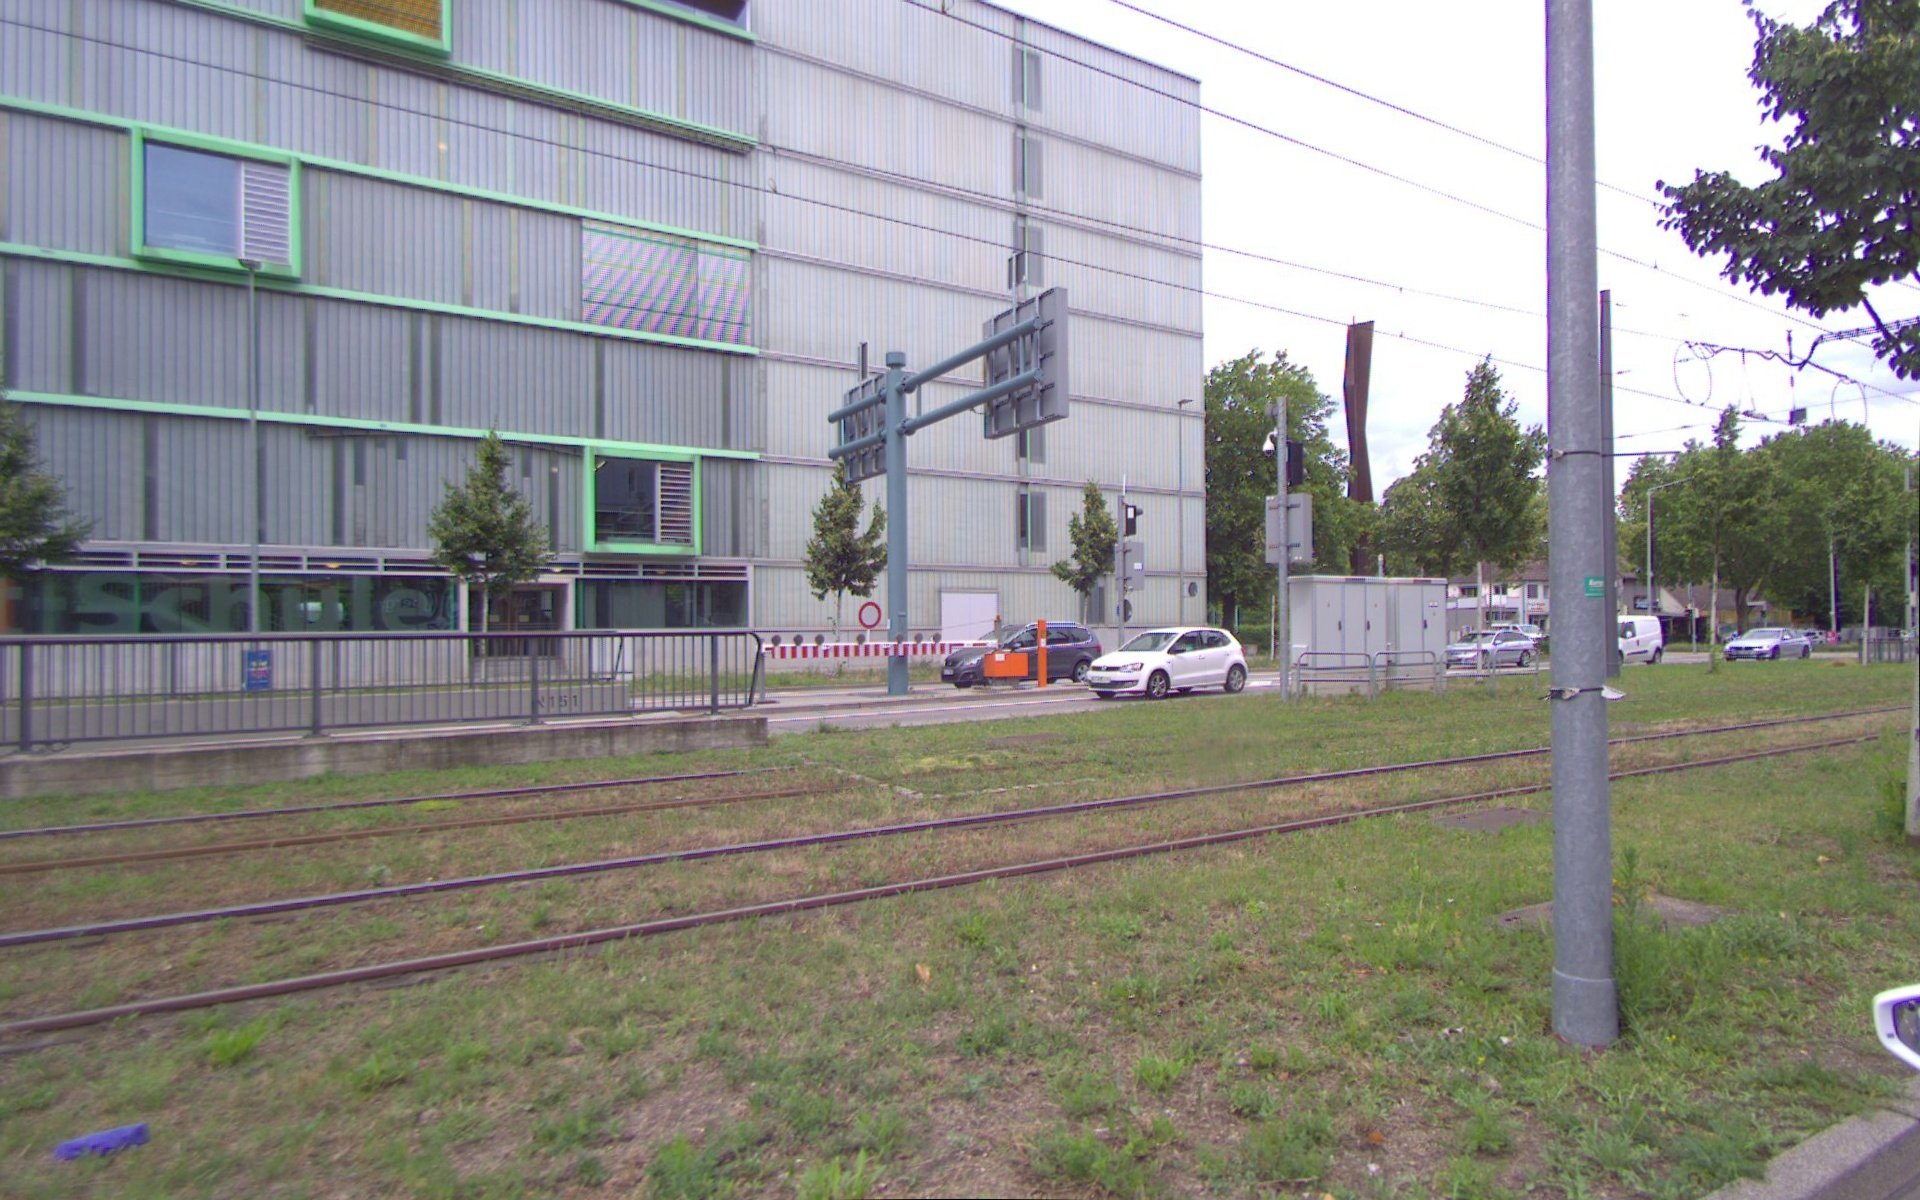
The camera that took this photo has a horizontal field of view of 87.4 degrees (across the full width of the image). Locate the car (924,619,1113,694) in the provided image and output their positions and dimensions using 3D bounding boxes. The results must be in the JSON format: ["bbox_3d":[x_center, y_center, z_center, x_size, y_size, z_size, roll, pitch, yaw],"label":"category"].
[{"bbox_3d":[1.636,1.469,27.490,4.908,1.848,1.984,0,-1,-30],"label":"car"}]

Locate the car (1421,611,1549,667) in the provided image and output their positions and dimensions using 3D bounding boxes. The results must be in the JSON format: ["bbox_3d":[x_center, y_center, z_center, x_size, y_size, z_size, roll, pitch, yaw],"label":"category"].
[{"bbox_3d":[20.656,1.488,39.468,5.232,2.040,1.984,0,-1,-30],"label":"car"}]

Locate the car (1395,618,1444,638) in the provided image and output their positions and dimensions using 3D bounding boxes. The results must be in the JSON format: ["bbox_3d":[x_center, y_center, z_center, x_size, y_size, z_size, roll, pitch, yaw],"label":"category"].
[{"bbox_3d":[44.809,2.739,98.043,1.974,1.873,3.973,0,-1,-27],"label":"car"}]

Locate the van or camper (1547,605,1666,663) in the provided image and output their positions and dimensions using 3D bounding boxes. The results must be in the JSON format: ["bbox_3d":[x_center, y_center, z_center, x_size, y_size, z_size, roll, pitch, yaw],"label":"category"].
[{"bbox_3d":[22.902,1.185,35.503,5.077,1.925,1.875,0,-3,-37],"label":"van or camper"}]

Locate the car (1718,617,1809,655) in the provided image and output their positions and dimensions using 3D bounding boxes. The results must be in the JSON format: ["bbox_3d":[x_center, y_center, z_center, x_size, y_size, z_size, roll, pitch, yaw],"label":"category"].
[{"bbox_3d":[34.865,1.566,43.555,4.872,1.464,1.718,0,-3,-35],"label":"car"}]

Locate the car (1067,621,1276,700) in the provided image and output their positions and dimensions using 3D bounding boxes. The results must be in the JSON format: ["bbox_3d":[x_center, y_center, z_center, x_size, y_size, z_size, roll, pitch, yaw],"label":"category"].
[{"bbox_3d":[4.605,1.251,21.614,4.526,1.499,1.752,0,-2,-35],"label":"car"}]

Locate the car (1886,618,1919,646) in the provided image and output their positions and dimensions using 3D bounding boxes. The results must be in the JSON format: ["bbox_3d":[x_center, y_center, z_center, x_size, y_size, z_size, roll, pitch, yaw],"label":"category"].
[{"bbox_3d":[57.424,1.912,60.163,4.529,1.592,1.786,1,1,-32],"label":"car"}]
